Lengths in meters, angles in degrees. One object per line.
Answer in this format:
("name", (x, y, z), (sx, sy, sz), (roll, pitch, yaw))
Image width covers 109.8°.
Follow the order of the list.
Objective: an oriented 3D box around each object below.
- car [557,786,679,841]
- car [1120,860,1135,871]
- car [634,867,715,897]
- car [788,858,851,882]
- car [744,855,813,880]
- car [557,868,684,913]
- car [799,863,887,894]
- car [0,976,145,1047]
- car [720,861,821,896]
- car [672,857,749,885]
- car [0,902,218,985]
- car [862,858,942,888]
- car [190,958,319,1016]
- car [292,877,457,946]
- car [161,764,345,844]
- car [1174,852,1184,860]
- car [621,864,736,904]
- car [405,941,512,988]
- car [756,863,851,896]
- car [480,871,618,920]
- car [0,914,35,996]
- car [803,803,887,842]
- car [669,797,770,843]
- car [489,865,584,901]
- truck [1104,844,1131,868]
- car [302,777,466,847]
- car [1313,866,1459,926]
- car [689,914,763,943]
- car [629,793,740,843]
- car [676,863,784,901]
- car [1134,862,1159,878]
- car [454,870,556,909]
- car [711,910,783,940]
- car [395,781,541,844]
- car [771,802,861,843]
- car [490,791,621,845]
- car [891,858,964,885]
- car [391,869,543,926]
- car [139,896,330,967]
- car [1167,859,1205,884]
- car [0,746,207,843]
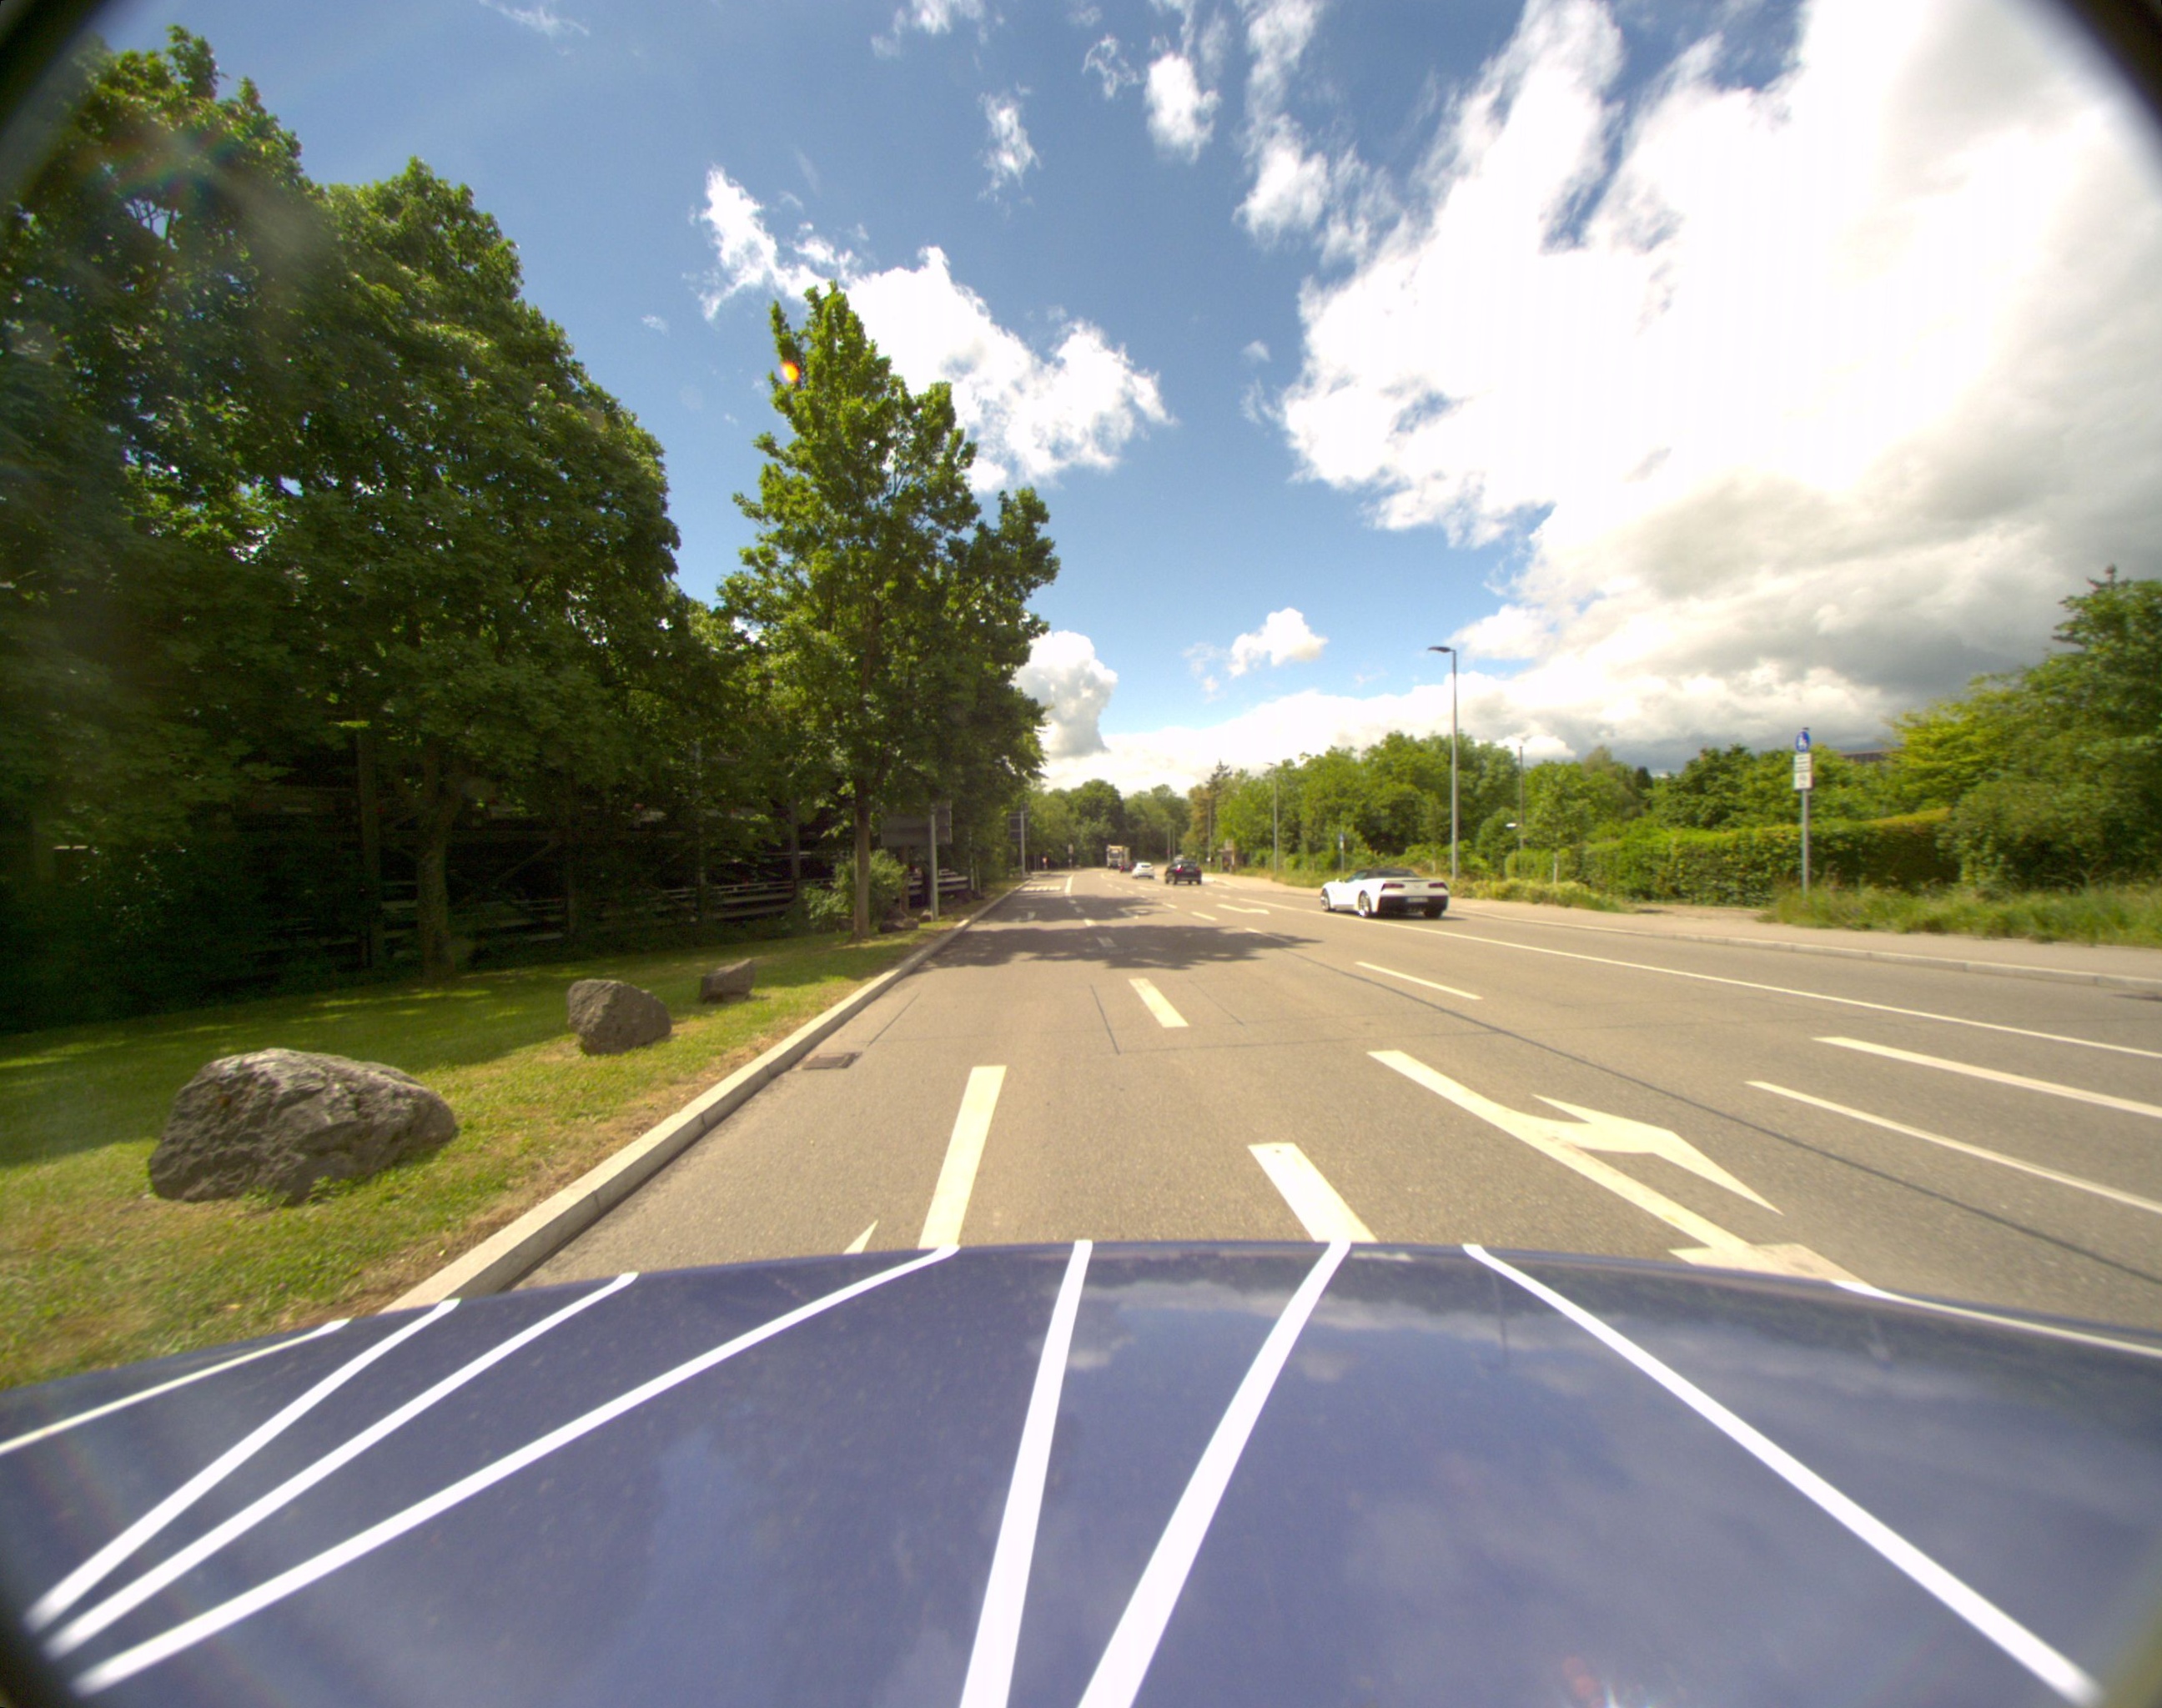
("car", (-15.573, -1.308, 25.553), (3.695, 1.553, 1.662), (-1, -1, 23))
("car", (6.201, 1.544, 101.136), (1.770, 1.433, 4.377), (0, 0, 1))
("car", (-21.765, 1.468, 40.690), (3.848, 1.477, 1.698), (0, 1, 22))
("car", (-17.752, 1.068, 51.575), (3.925, 1.542, 1.772), (1, 1, 23))
("car", (-18.787, 0.829, 47.236), (3.848, 1.434, 1.756), (0, 1, 22))
("car", (-15.673, 1.221, 25.852), (3.848, 1.384, 1.698), (-1, 0, 22))
("car", (-11.567, 1.194, 36.976), (3.848, 1.384, 1.698), (-1, 0, 22))
("car", (-29.368, 4.517, 22.105), (3.774, 1.438, 1.642), (0, 1, 22))
("car", (-13.259, 1.064, 32.475), (3.848, 1.384, 1.698), (-1, 0, 22))
("car", (-20.892, 0.923, 42.866), (3.848, 1.477, 1.756), (0, 1, 22))
("car", (-19.868, 1.739, 15.502), (3.848, 1.384, 1.779), (-1, 0, 22))
("car", (-9.685, 1.024, 41.110), (3.848, 1.505, 1.840), (-1, 0, 23))
("car", (-28.110, 4.473, 25.852), (3.848, 1.438, 1.698), (0, 1, 22))
("car", (-18.704, 1.477, 20.112), (3.848, 1.616, 1.698), (-1, 0, 22))
("car", (-19.015, -1.073, 17.457), (3.695, 1.532, 1.730), (-1, -2, 23))
("car", (25.023, 0.526, 194.851), (1.841, 1.783, 3.907), (-4, 0, 16))
("car", (-15.093, 1.108, 28.517), (3.848, 1.384, 1.698), (-1, 0, 22))
("car", (-25.121, 4.426, 30.670), (3.848, 1.438, 1.698), (0, 1, 22))
("car", (-12.510, 1.148, 34.254), (3.848, 1.384, 1.698), (-1, 0, 22))
("car", (-16.692, 1.280, 23.852), (3.848, 1.384, 1.698), (-1, 0, 22))
("car", (-20.871, 1.831, 13.509), (3.789, 1.384, 1.779), (-1, 0, 22))
("car", (-11.460, -1.495, 36.938), (3.695, 1.631, 1.662), (-1, -1, 23))
("car", (-14.526, -1.325, 30.536), (3.695, 1.609, 1.662), (-1, -1, 23))
("car", (-24.776, 1.300, 34.578), (3.848, 1.477, 1.698), (0, 1, 22))
("truck", (6.287, 0.285, 128.527), (3.238, 3.838, 9.880), (1, 1, 10))
("car", (-17.981, -1.021, 19.607), (3.695, 1.532, 1.730), (-1, -2, 23))
("car", (7.747, 0.998, 19.846), (1.909, 1.284, 4.608), (-1, 0, -1))
("car", (-20.459, 4.265, 43.789), (3.848, 1.304, 1.682), (0, 1, 22))
("car", (-14.667, -1.291, 28.115), (3.695, 1.609, 1.662), (-1, -1, 23))
("car", (-13.992, 1.112, 30.273), (3.848, 1.384, 1.698), (-1, 0, 22))
("car", (5.998, 1.437, 69.999), (1.771, 1.433, 3.899), (0, 0, -3))
("car", (-24.610, 1.486, 32.471), (3.848, 1.477, 1.698), (0, 1, 22))
("car", (-19.925, 4.206, 45.345), (3.848, 1.457, 1.756), (0, 1, 22))
("car", (-17.615, -1.126, 21.856), (3.695, 1.532, 1.730), (-1, -2, 23))
("car", (-12.047, -1.401, 34.545), (3.695, 1.609, 1.662), (-1, -1, 23))
("car", (-16.400, -1.083, 23.711), (3.695, 1.422, 1.662), (-1, -2, 23))
("car", (-8.723, 1.001, 43.178), (3.695, 1.403, 1.662), (-1, 0, 23))
("car", (-17.599, 1.224, 21.793), (3.848, 1.481, 1.698), (-1, 0, 22))
("car", (-19.448, 1.714, 17.470), (3.848, 1.384, 1.698), (-1, 0, 22))
("car", (7.056, 1.142, 51.337), (1.826, 1.644, 4.532), (0, 0, -1))
("car", (-19.857, -1.109, 15.419), (3.695, 1.609, 1.730), (-1, -1, 23))
